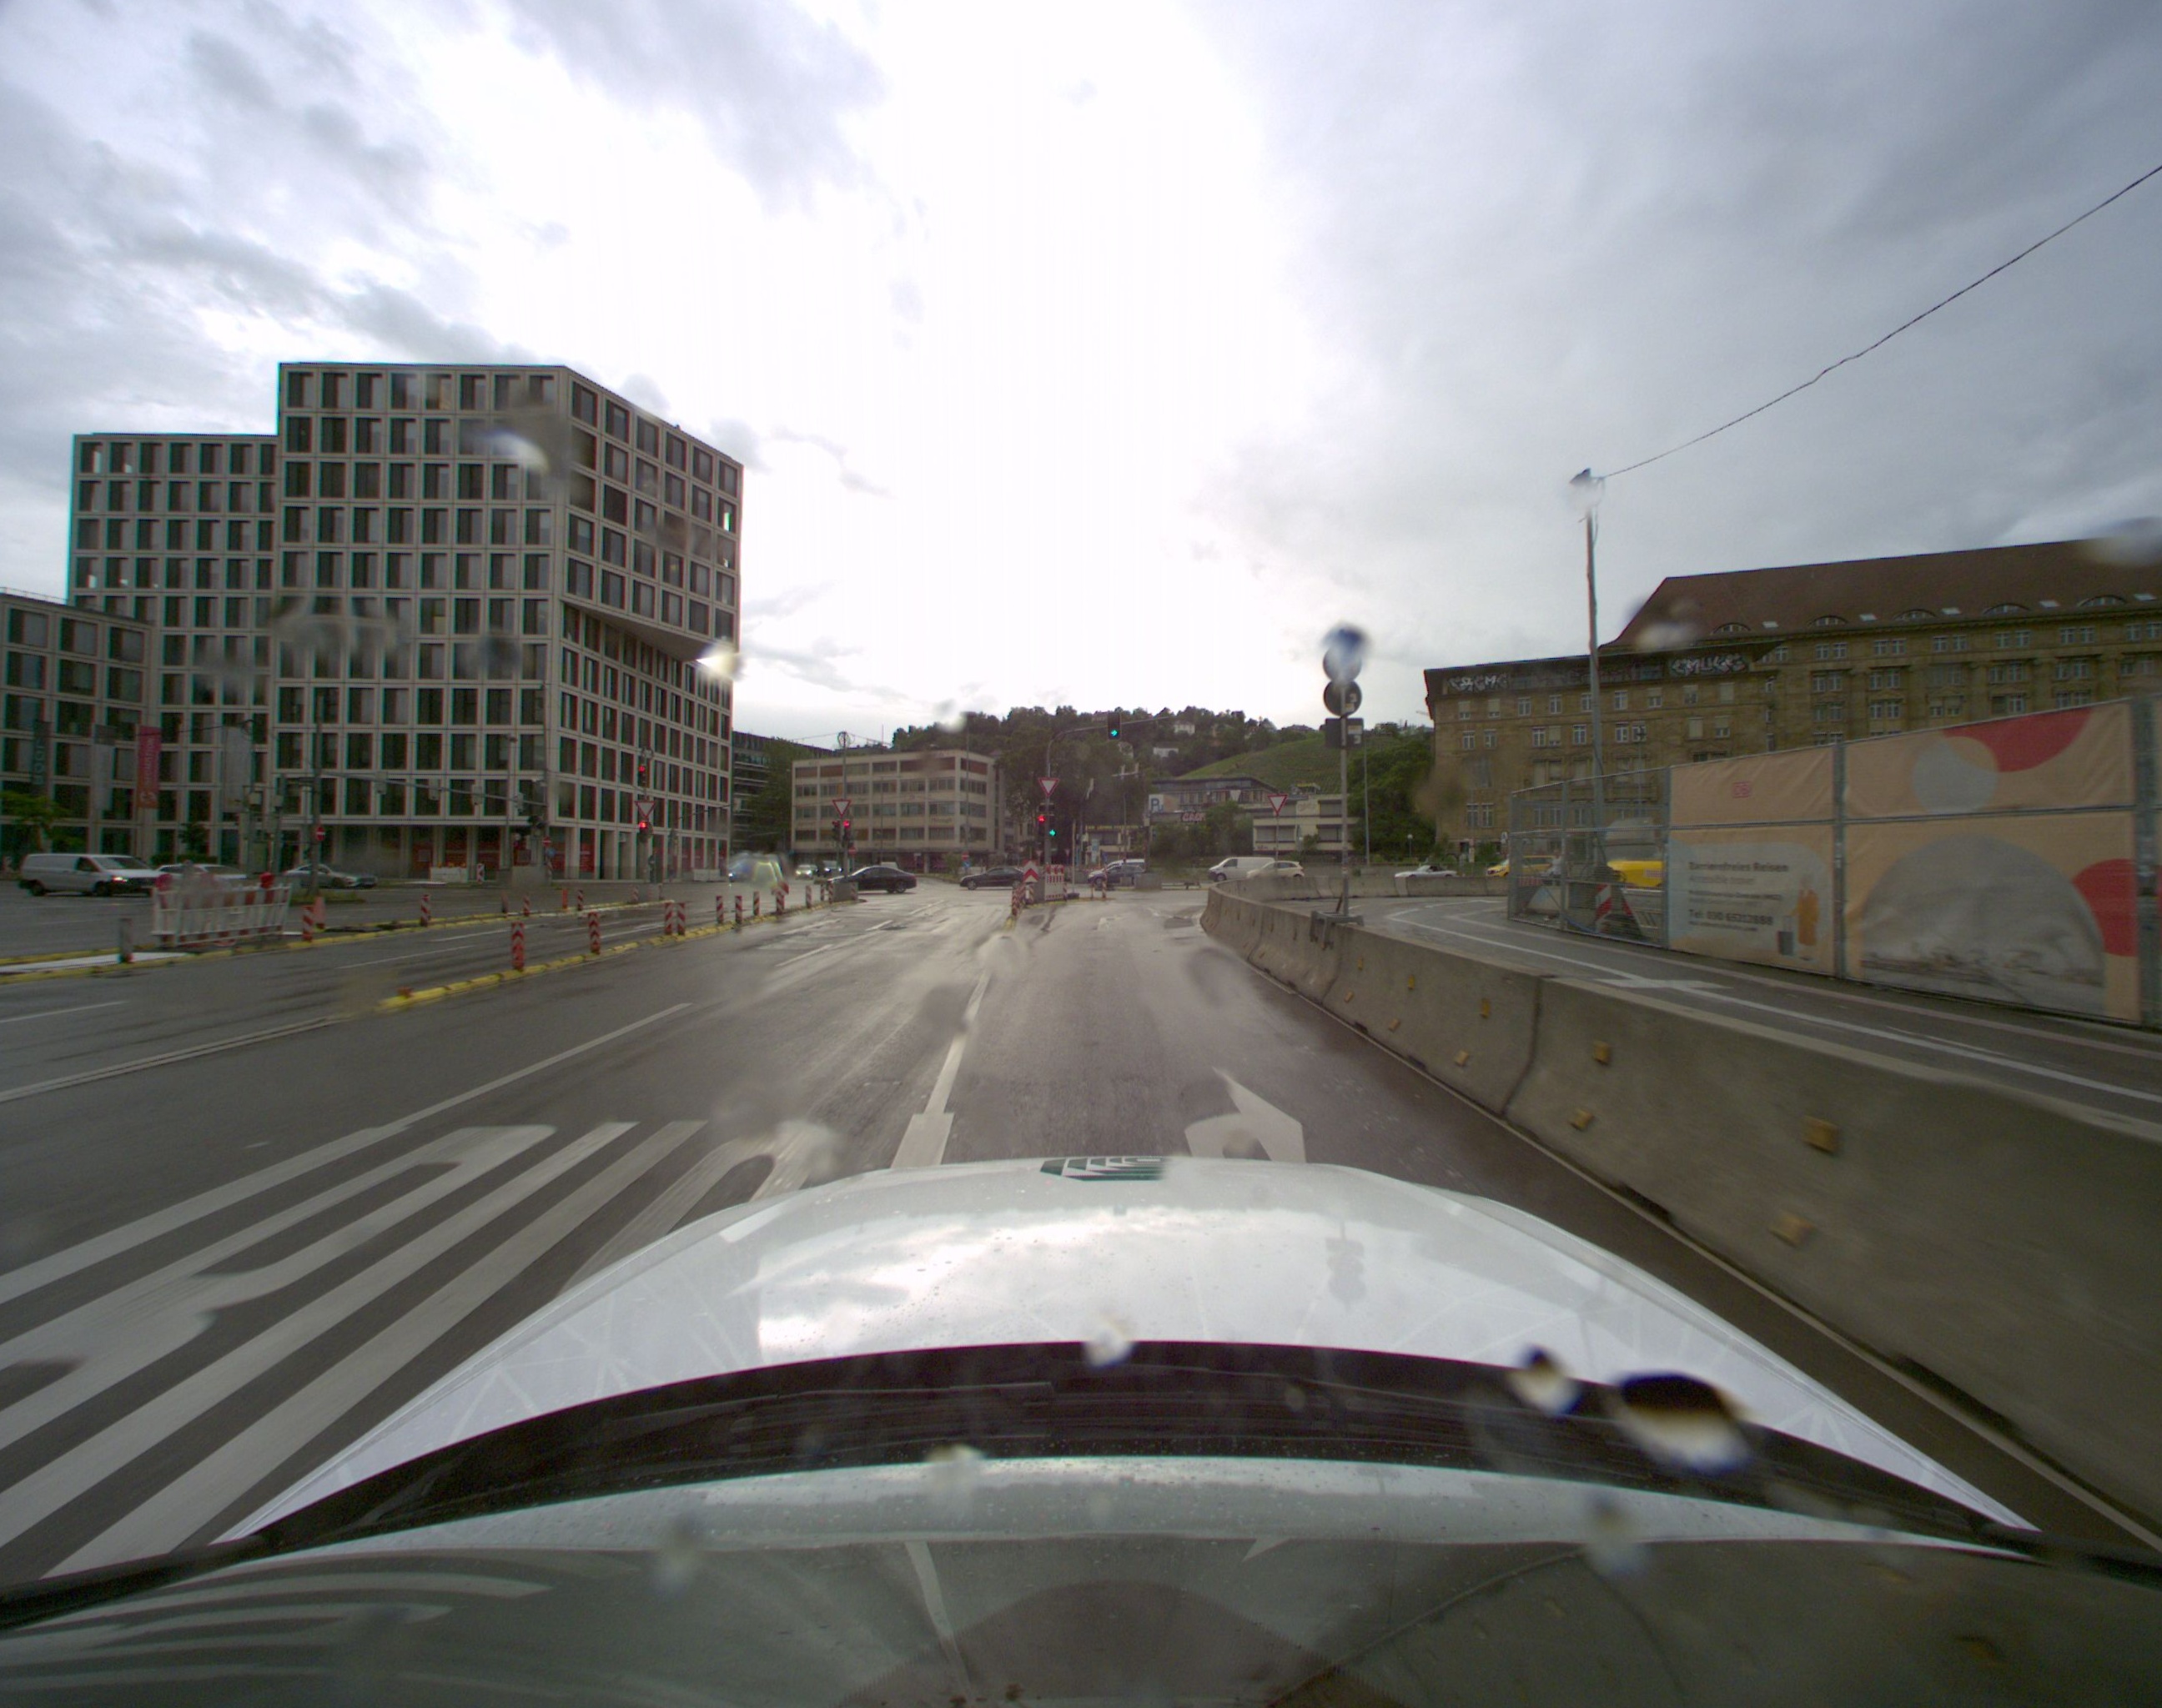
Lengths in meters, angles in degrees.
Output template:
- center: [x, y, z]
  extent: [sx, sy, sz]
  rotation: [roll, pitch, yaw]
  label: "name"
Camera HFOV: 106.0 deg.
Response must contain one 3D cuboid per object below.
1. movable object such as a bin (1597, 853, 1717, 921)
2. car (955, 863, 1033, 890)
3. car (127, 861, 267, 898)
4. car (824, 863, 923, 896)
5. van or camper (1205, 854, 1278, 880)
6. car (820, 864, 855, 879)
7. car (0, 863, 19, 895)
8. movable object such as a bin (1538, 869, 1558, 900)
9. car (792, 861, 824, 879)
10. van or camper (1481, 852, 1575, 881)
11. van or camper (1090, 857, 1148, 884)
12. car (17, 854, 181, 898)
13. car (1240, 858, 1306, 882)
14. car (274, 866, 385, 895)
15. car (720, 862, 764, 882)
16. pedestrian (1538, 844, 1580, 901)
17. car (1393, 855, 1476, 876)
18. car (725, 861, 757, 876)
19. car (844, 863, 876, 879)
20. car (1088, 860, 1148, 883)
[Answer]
- center: [13.261, 0.754, 18.825]
  extent: [1.881, 1.471, 1.189]
  rotation: [-2, -2, 3]
  label: "movable object such as a bin"
- center: [-5.301, 1.339, 50.018]
  extent: [4.638, 1.598, 2.016]
  rotation: [0, 0, -4]
  label: "car"
- center: [-42.737, 1.208, 39.457]
  extent: [4.630, 1.738, 2.019]
  rotation: [0, 0, 2]
  label: "car"
- center: [-10.865, 1.279, 42.675]
  extent: [4.677, 1.598, 1.999]
  rotation: [0, -1, -30]
  label: "car"
- center: [12.164, 0.985, 61.808]
  extent: [5.185, 1.894, 1.885]
  rotation: [0, -1, -4]
  label: "van or camper"
- center: [-27.134, 1.956, 90.714]
  extent: [3.948, 1.557, 1.902]
  rotation: [-1, -1, 40]
  label: "car"
- center: [-56.851, 1.287, 40.772]
  extent: [4.633, 1.598, 2.018]
  rotation: [0, 0, -1]
  label: "car"
- center: [15.891, 1.030, 27.710]
  extent: [0.525, 1.016, 0.427]
  rotation: [0, -1, -39]
  label: "movable object such as a bin"
- center: [-27.849, 1.635, 83.180]
  extent: [1.792, 1.816, 4.004]
  rotation: [0, 0, 3]
  label: "car"
- center: [32.236, 0.905, 58.845]
  extent: [5.571, 2.054, 2.246]
  rotation: [0, -1, 0]
  label: "van or camper"
- center: [2.830, 1.209, 61.544]
  extent: [4.233, 1.979, 1.849]
  rotation: [0, -1, -4]
  label: "van or camper"
- center: [-43.605, 0.954, 36.232]
  extent: [5.045, 1.904, 2.090]
  rotation: [0, -1, 4]
  label: "car"
- center: [13.824, 1.132, 58.703]
  extent: [4.350, 1.673, 1.848]
  rotation: [0, 0, 1]
  label: "car"
- center: [-42.428, 1.470, 46.013]
  extent: [4.624, 1.598, 2.022]
  rotation: [0, 0, 6]
  label: "car"
- center: [-30.667, 1.633, 73.827]
  extent: [2.217, 1.753, 4.807]
  rotation: [-1, -1, -3]
  label: "car"
- center: [15.939, 0.605, 27.153]
  extent: [0.782, 1.865, 0.991]
  rotation: [0, -1, -39]
  label: "pedestrian"
- center: [22.187, 0.729, 51.175]
  extent: [4.502, 1.309, 1.642]
  rotation: [0, 0, -2]
  label: "car"
- center: [-40.764, 1.735, 97.713]
  extent: [3.948, 1.816, 1.817]
  rotation: [0, 0, 38]
  label: "car"
- center: [-30.060, 2.290, 110.678]
  extent: [3.949, 2.014, 2.012]
  rotation: [1, -2, 32]
  label: "car"
- center: [2.652, 1.274, 58.504]
  extent: [4.159, 1.598, 1.849]
  rotation: [0, 0, -4]
  label: "car"
